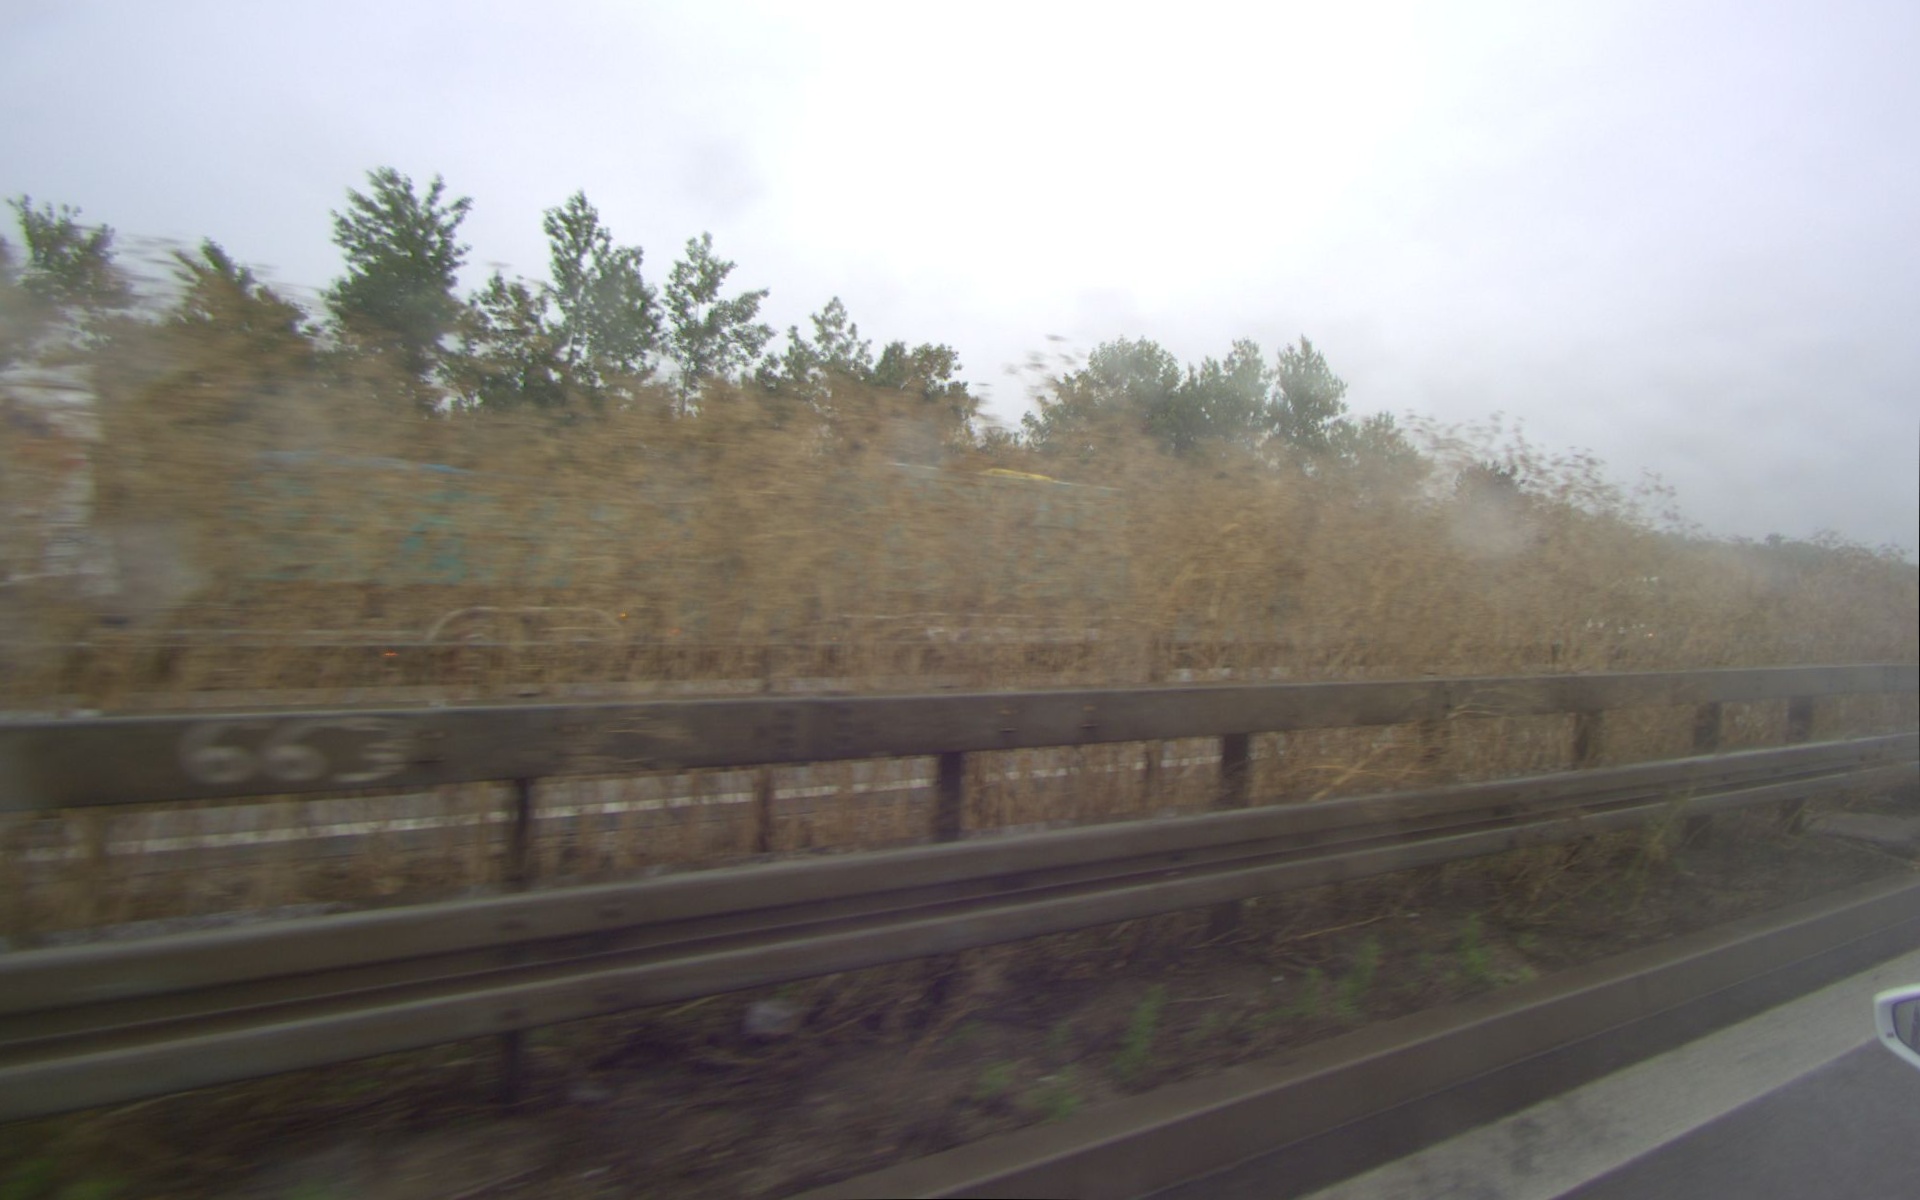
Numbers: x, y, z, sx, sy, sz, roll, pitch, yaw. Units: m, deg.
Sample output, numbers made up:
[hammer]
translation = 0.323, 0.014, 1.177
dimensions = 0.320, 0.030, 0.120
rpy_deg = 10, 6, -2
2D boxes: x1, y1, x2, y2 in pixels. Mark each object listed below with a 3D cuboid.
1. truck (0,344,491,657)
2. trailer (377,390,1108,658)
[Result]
[truck]
translation = -9.267, -1.024, 13.068
dimensions = 5.466, 3.383, 2.635
rpy_deg = 2, 0, -31
[trailer]
translation = -2.957, -0.805, 16.840
dimensions = 11.701, 3.383, 2.637
rpy_deg = 2, 0, -31
